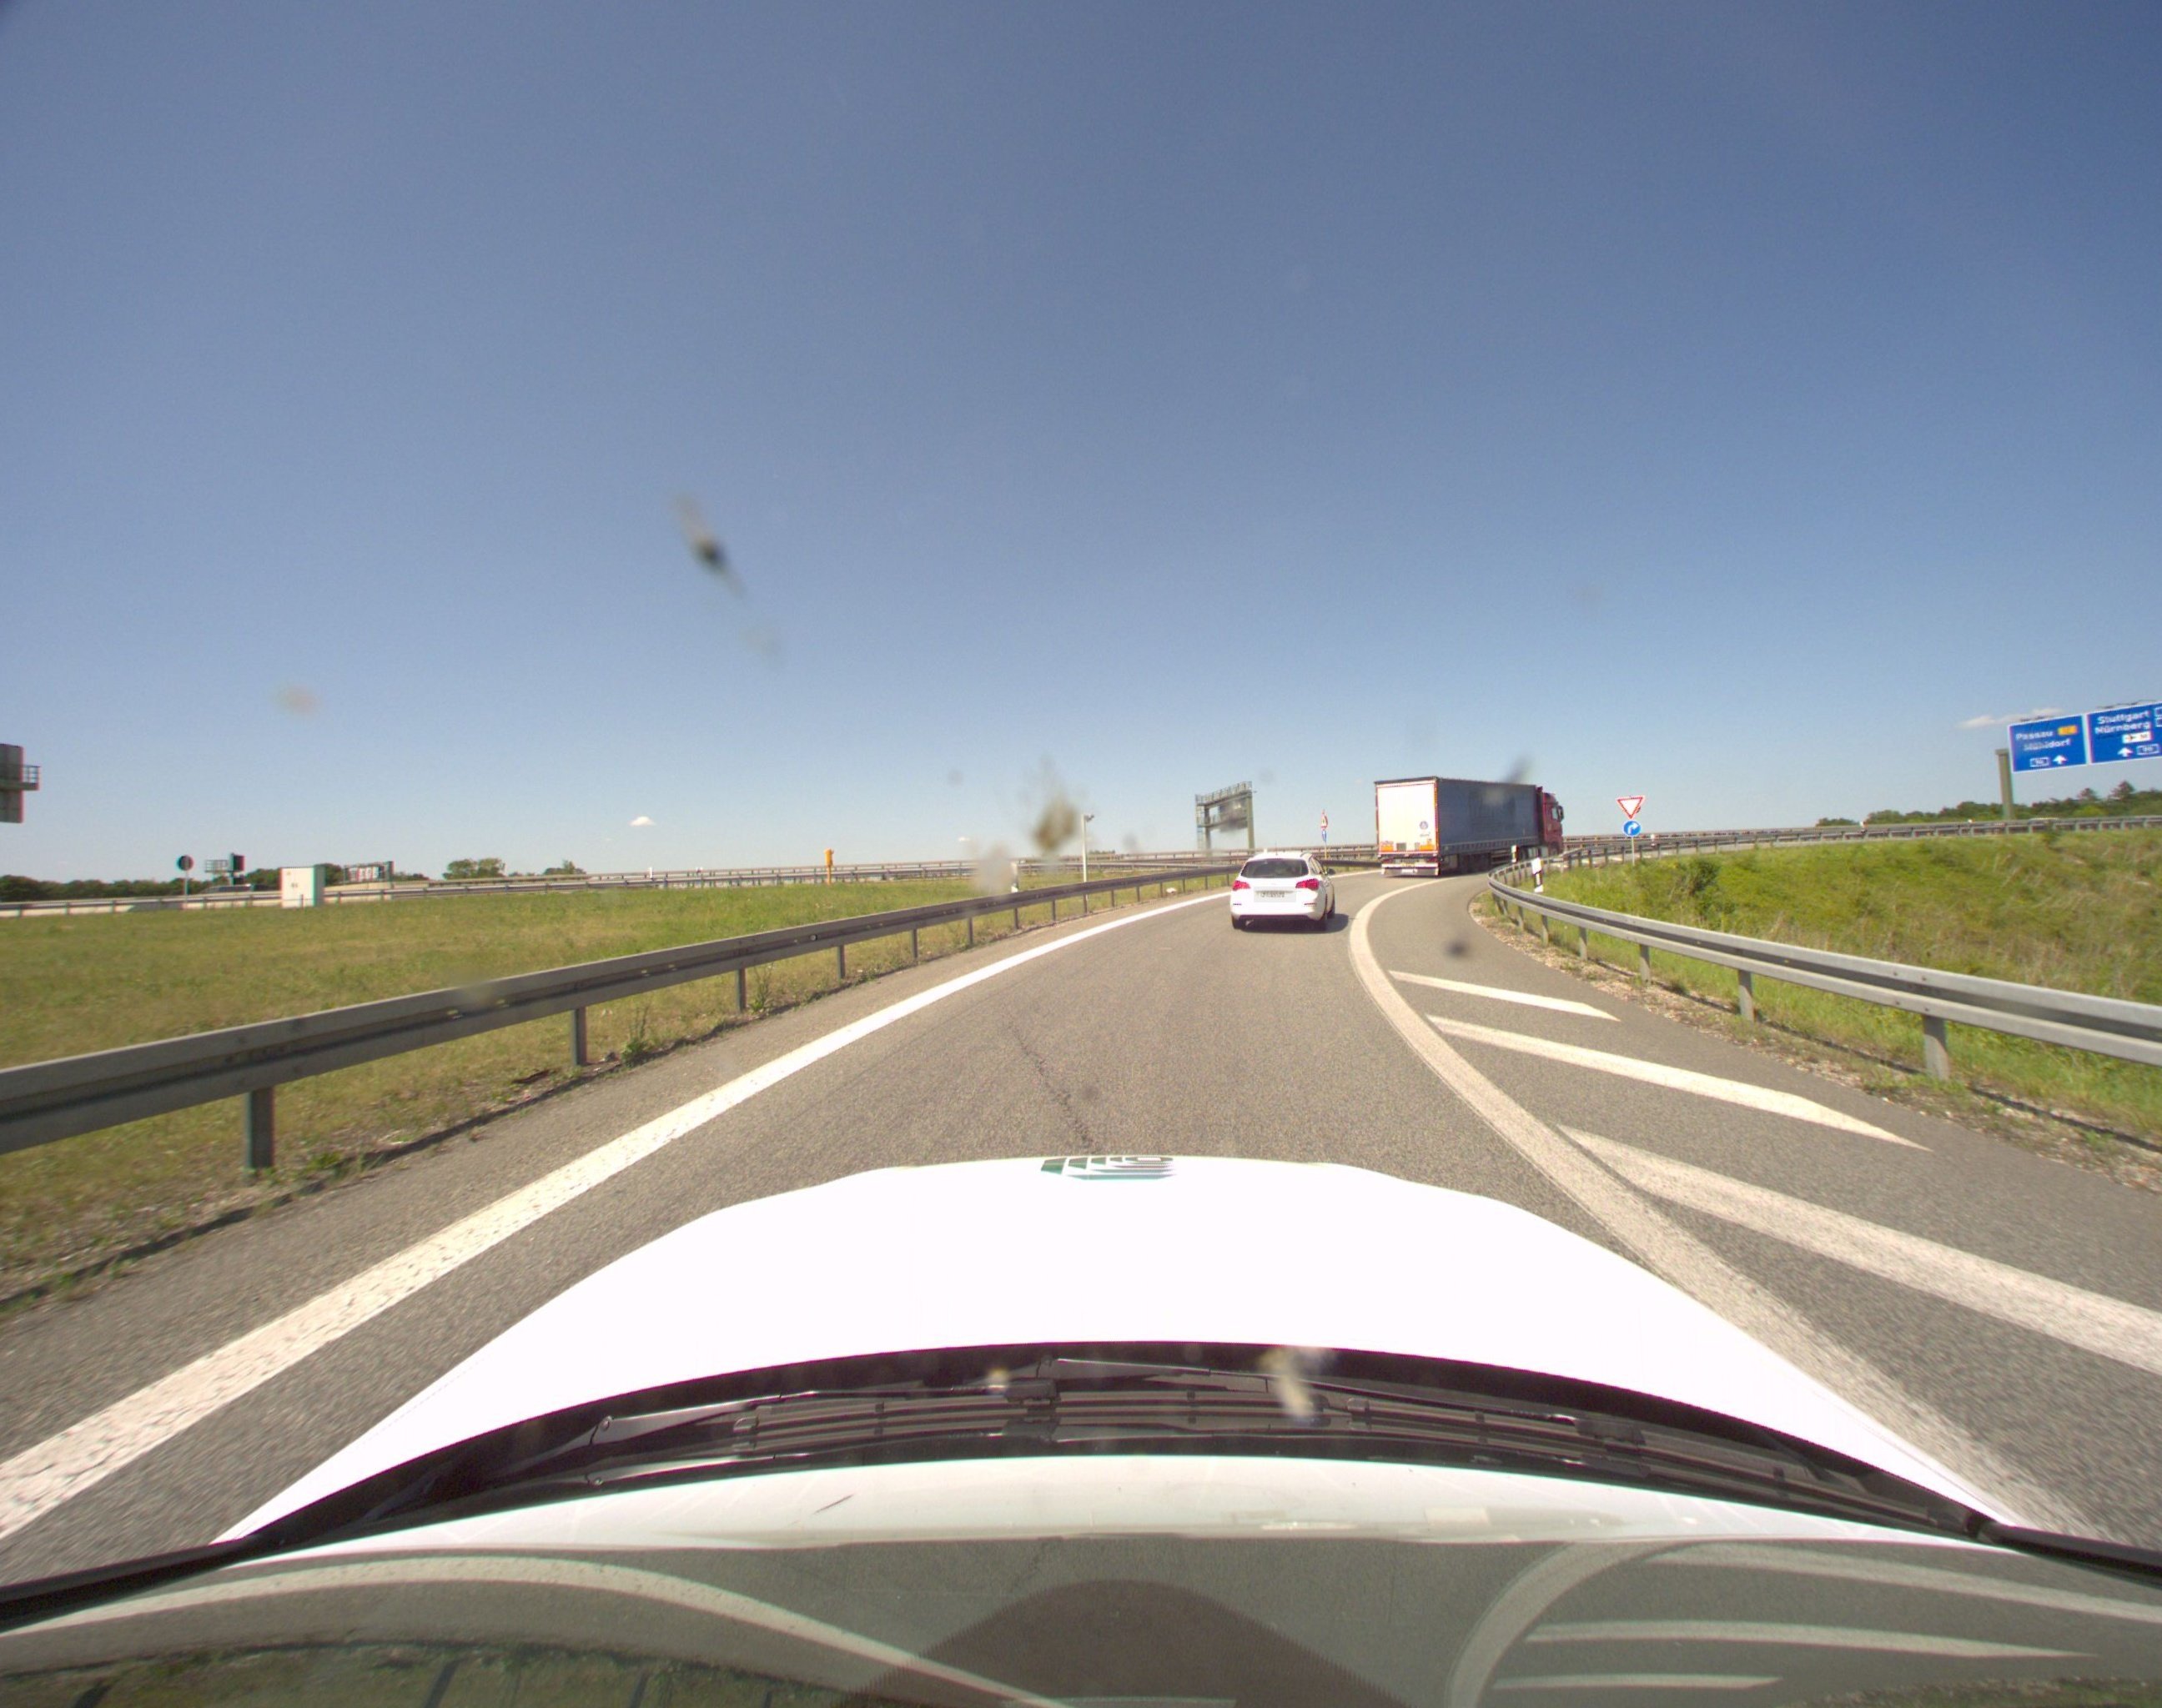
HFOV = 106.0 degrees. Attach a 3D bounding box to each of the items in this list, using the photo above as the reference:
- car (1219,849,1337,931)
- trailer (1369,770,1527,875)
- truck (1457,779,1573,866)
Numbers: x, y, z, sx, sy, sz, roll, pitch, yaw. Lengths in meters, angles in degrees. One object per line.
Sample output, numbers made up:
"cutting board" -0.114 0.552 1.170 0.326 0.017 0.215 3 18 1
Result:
"car" 4.171 0.664 16.732 1.839 1.443 4.394 -2 -1 20
"trailer" 16.984 -1.242 36.982 2.885 4.145 11.325 -1 -1 44
"truck" 22.651 -1.531 42.399 6.961 4.145 2.888 0 -1 -40
